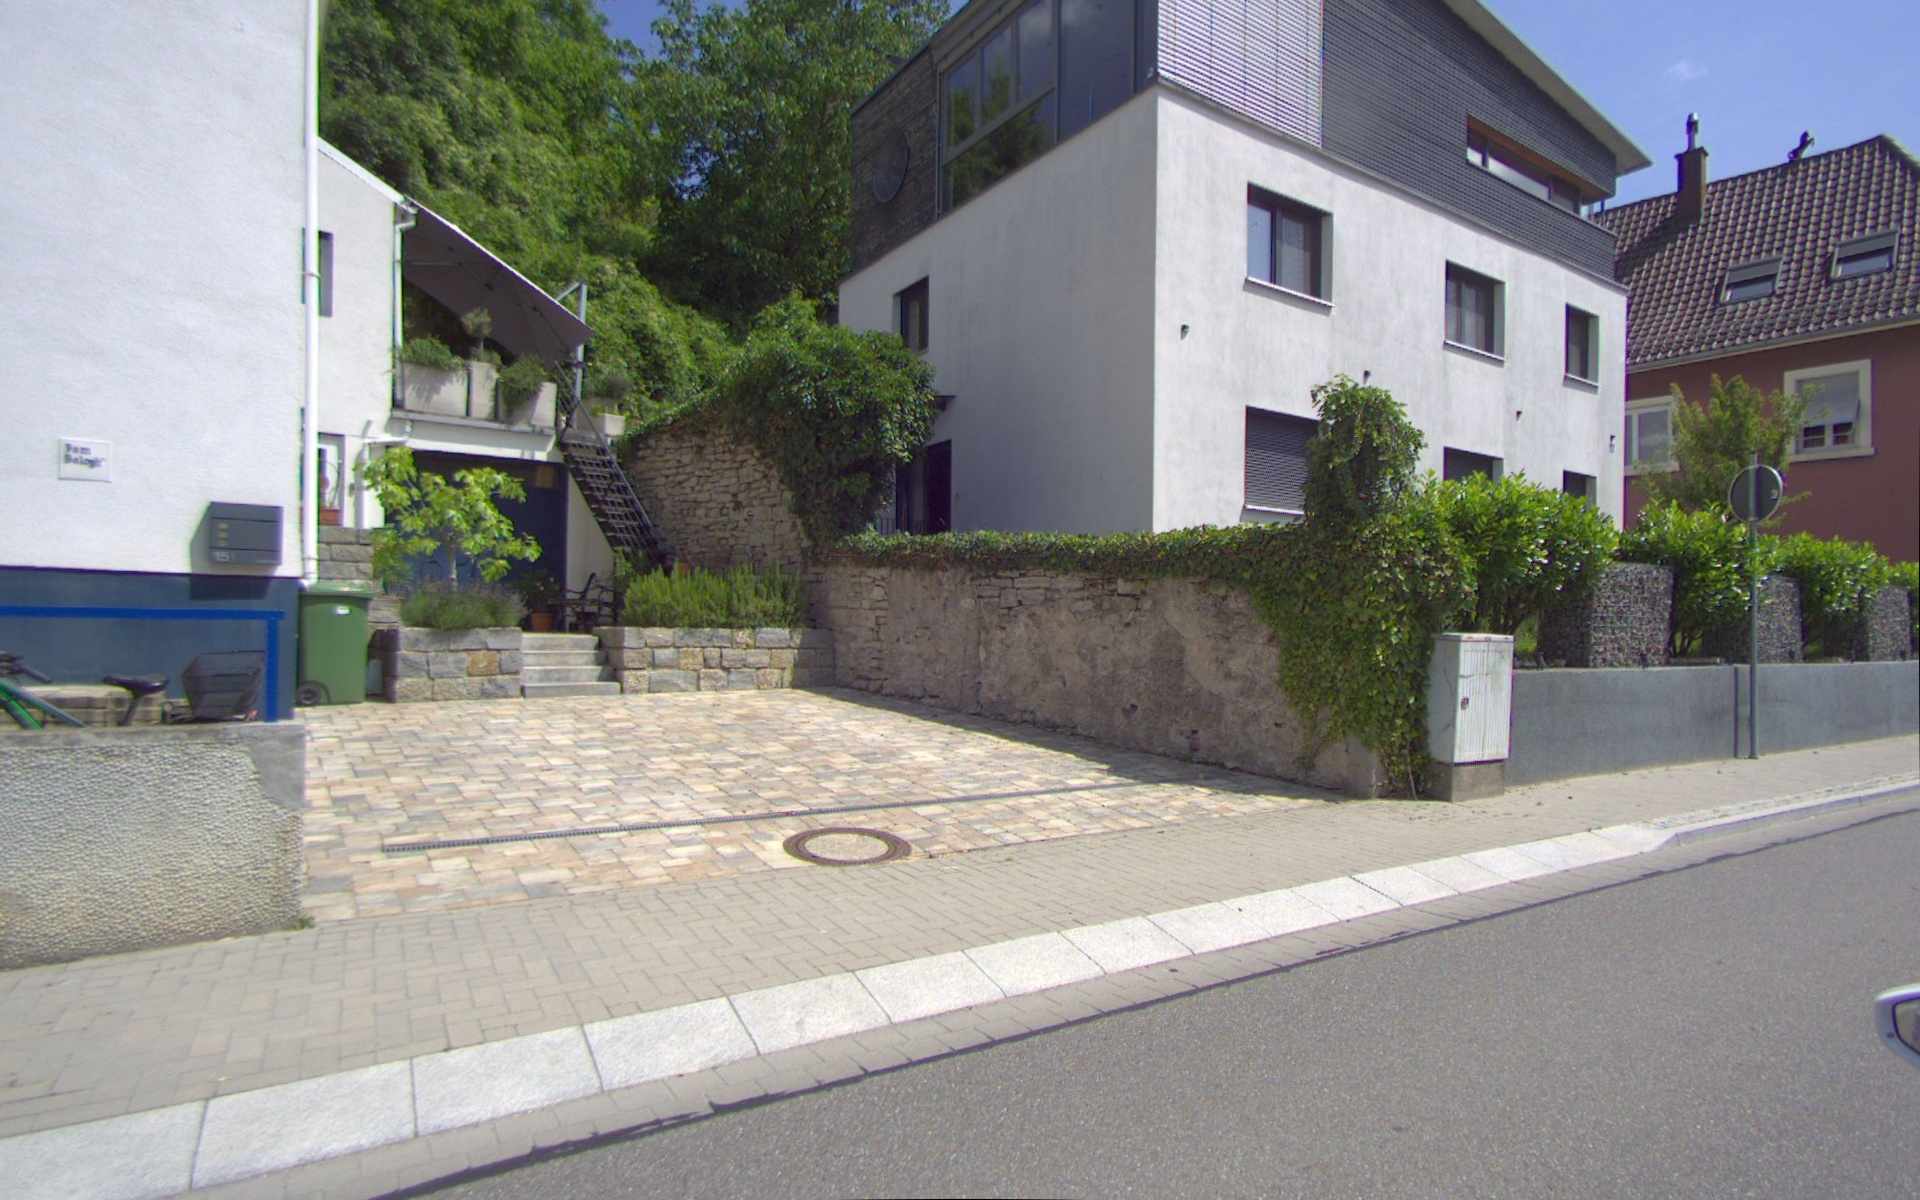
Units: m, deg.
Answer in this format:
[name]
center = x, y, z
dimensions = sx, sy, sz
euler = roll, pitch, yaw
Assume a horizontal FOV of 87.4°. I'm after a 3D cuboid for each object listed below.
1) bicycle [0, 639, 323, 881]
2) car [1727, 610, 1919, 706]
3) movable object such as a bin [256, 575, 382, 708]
[bicycle]
center = -3.920, 0.716, 4.694
dimensions = 1.520, 0.985, 0.505
euler = 3, 4, -29
[car]
center = 16.299, 1.019, 18.081
dimensions = 1.631, 1.425, 3.549
euler = 1, 3, -28
[movable object such as a bin]
center = -5.759, 0.373, 9.030
dimensions = 0.832, 1.127, 0.630
euler = 2, -4, -44
